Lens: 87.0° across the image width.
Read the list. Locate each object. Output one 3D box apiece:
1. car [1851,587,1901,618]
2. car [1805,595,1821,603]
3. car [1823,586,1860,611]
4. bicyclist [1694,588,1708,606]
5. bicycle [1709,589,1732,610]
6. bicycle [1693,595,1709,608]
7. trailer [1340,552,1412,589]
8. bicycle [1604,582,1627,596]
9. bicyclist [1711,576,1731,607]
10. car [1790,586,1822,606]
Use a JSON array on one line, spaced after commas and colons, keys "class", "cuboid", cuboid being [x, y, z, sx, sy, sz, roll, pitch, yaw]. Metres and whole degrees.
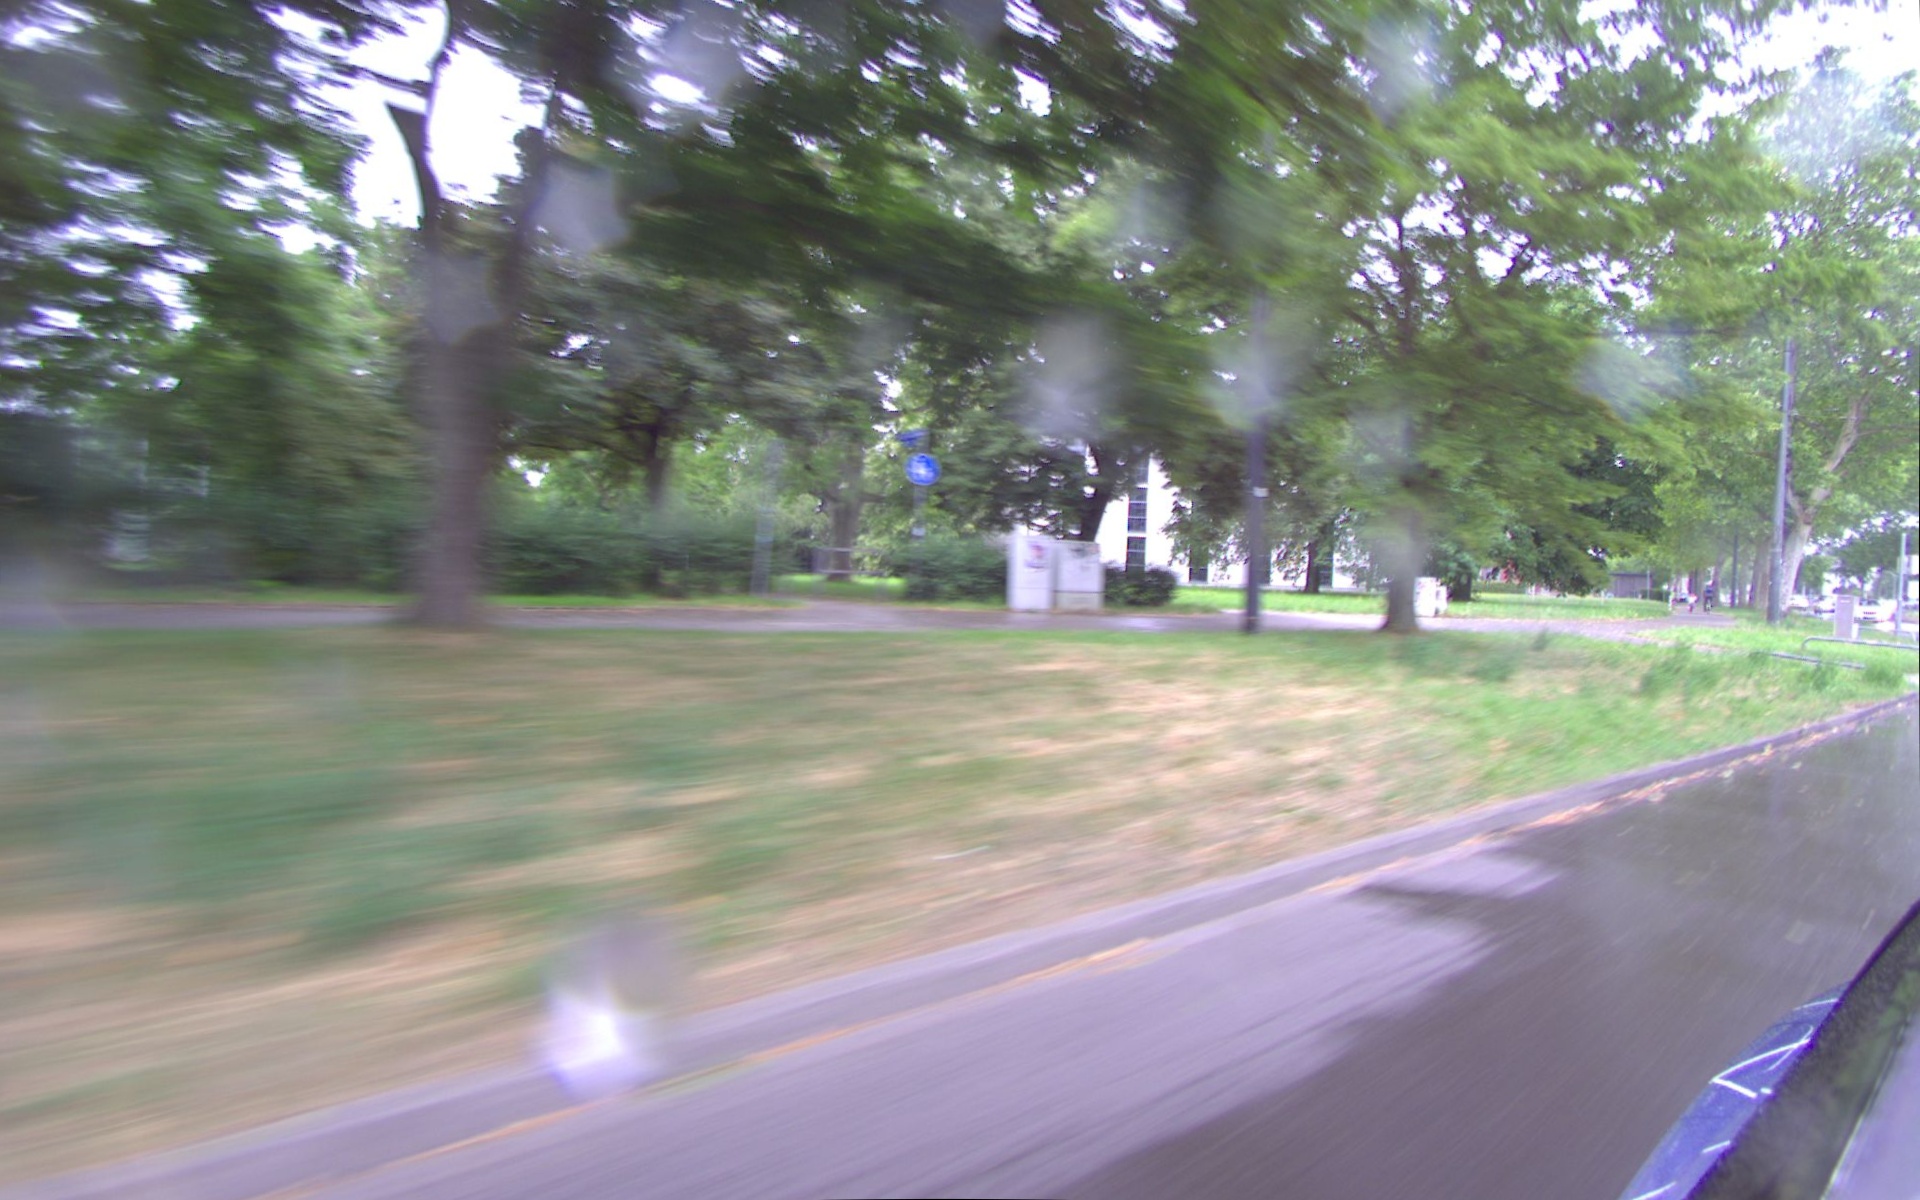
[{"class": "car", "cuboid": [54.030, 0.106, 59.744, 1.759, 1.746, 3.882, 2, 2, 37]}, {"class": "car", "cuboid": [156.115, -0.217, 185.223, 1.749, 1.535, 3.806, 0, 0, 35]}, {"class": "car", "cuboid": [67.452, -0.143, 77.487, 1.758, 1.746, 3.884, 3, 3, 36]}, {"class": "bicyclist", "cuboid": [43.432, -0.196, 59.309, 0.581, 1.051, 0.487, 0, 2, -43]}, {"class": "bicycle", "cuboid": [44.118, -0.051, 58.703, 1.938, 1.156, 0.712, -1, 3, -42]}, {"class": "bicycle", "cuboid": [43.455, 0.080, 59.347, 1.433, 0.717, 0.487, 0, 3, -43]}, {"class": "trailer", "cuboid": [28.118, -2.000, 68.429, 3.941, 2.337, 1.894, 2, 2, -3]}, {"class": "bicycle", "cuboid": [61.814, -1.038, 95.480, 1.898, 1.135, 0.522, 3, 3, -11]}, {"class": "bicyclist", "cuboid": [44.135, -0.487, 58.704, 0.941, 1.742, 0.712, 0, 3, -42]}, {"class": "car", "cuboid": [77.643, -0.381, 92.922, 1.756, 1.746, 3.888, 3, 3, 33]}]
